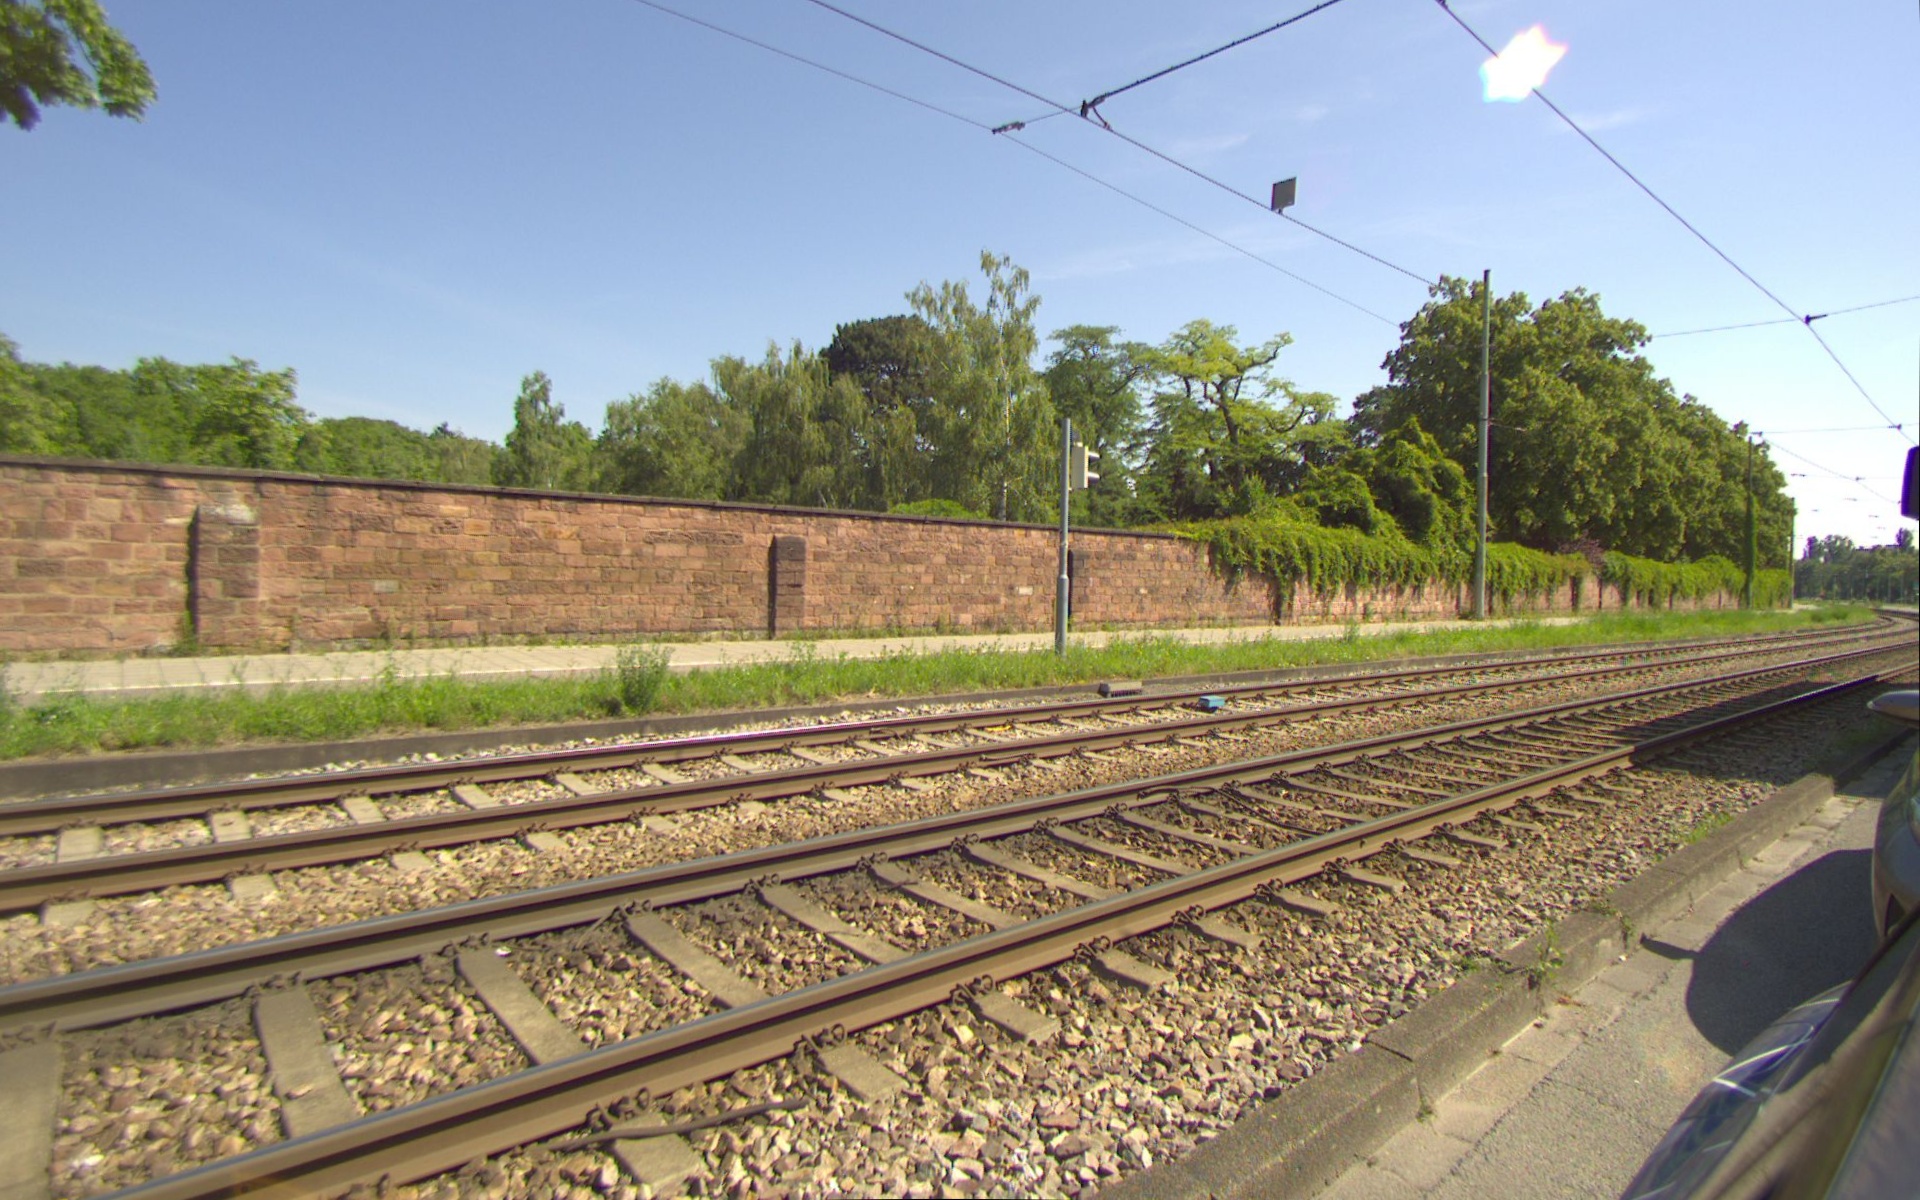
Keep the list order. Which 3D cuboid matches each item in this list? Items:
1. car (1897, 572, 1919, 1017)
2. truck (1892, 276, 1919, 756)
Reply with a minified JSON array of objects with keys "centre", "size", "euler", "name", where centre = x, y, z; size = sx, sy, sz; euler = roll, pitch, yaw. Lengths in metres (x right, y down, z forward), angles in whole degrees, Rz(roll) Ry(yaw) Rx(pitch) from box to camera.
[{"centre":[5.097,0.664,4.011],"size":[3.930,1.448,1.573],"euler":[0,2,-41],"name":"car"},{"centre":[14.260,-0.638,12.049],"size":[14.652,3.927,2.934],"euler":[0,2,-41],"name":"truck"}]
